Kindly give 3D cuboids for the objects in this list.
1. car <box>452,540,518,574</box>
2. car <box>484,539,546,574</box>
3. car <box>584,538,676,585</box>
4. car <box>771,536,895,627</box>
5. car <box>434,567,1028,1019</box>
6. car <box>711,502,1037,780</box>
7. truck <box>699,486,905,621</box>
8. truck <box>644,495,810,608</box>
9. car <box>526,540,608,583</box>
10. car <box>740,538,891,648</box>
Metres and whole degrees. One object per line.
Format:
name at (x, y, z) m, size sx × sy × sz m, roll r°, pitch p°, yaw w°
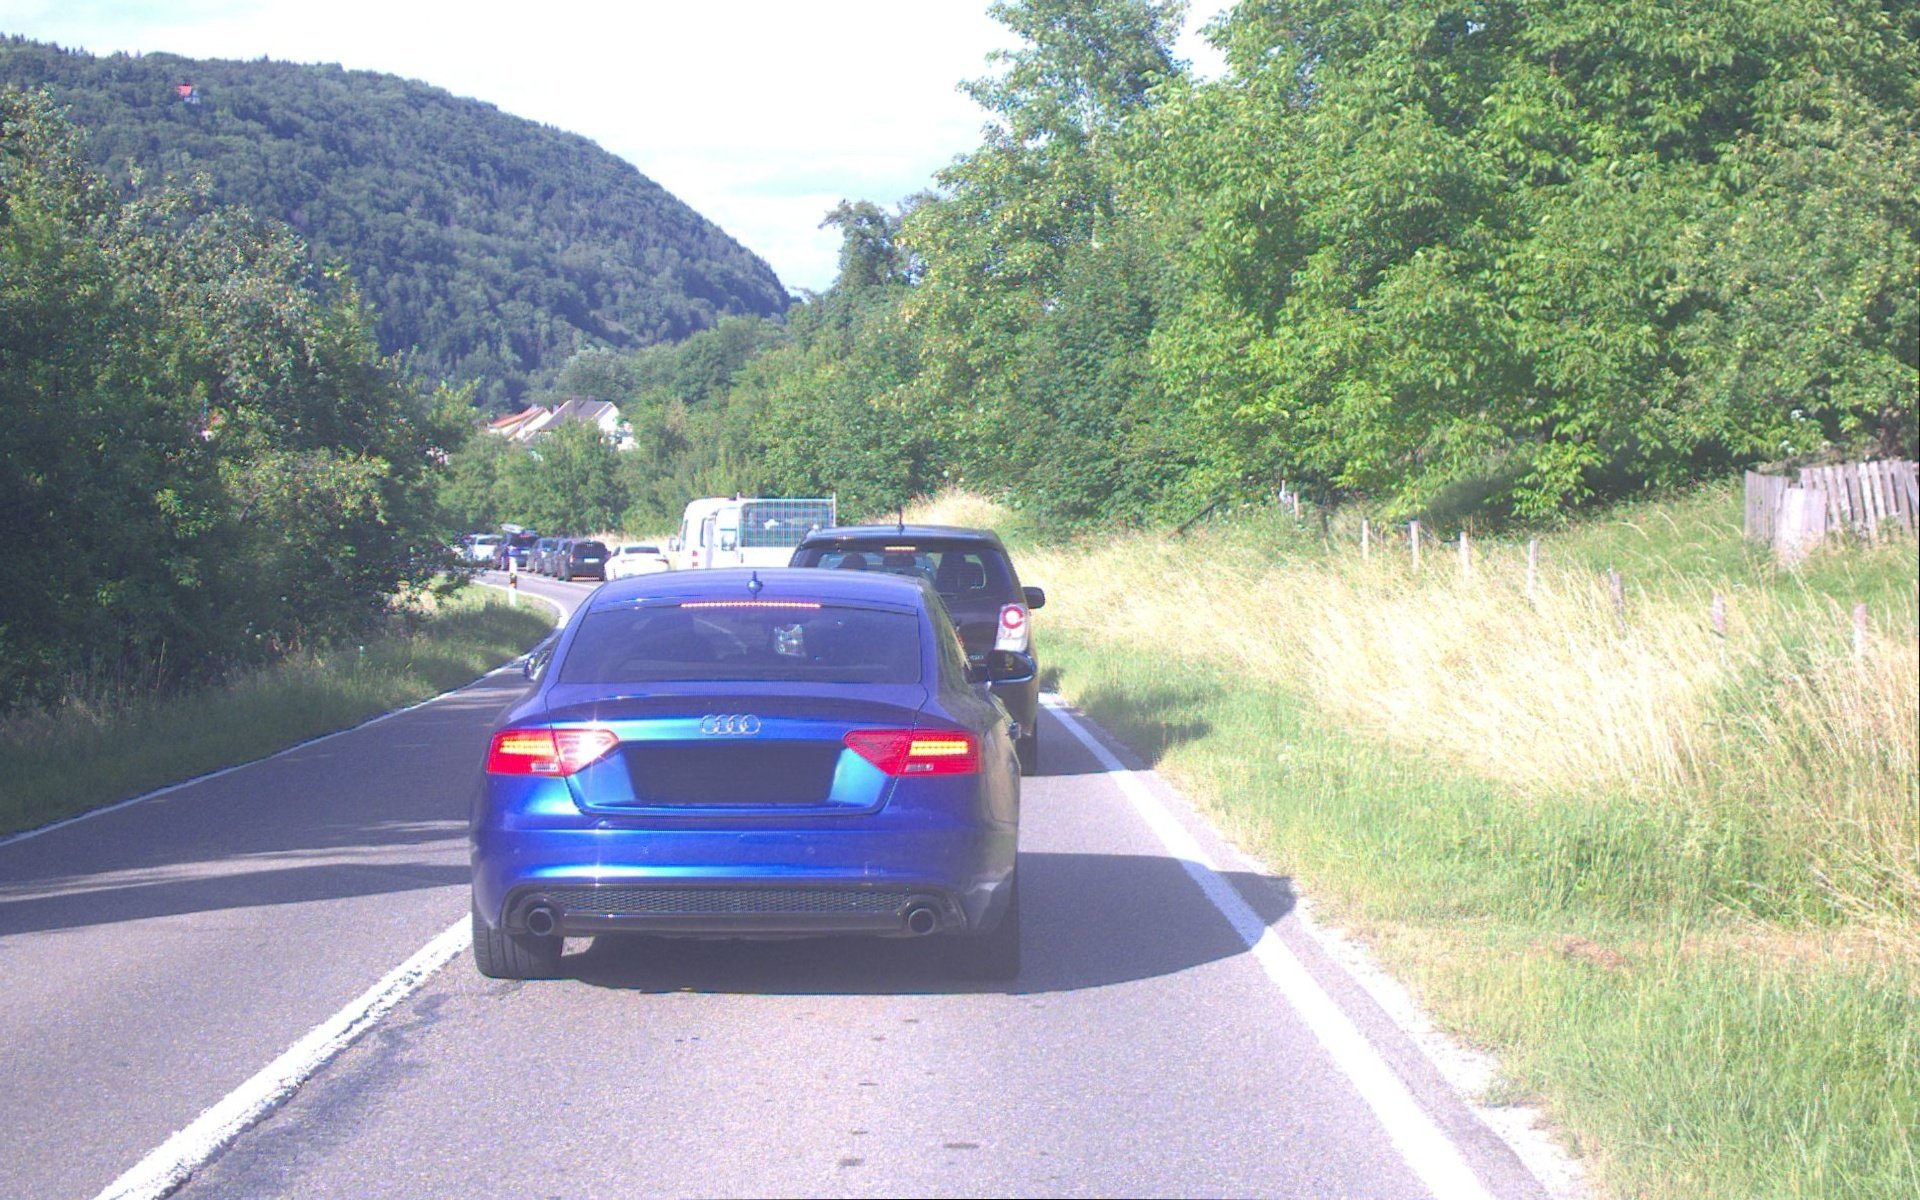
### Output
car at (-21.453, -1.953, 155.107) m, size 1.993 × 1.477 × 4.001 m, roll 0°, pitch 1°, yaw -23°
car at (-18.987, -1.848, 146.681) m, size 1.993 × 1.477 × 4.001 m, roll 1°, pitch 1°, yaw -17°
car at (-10.763, -1.245, 111.851) m, size 1.993 × 1.477 × 4.001 m, roll 1°, pitch 1°, yaw -21°
car at (-2.128, -0.326, 58.534) m, size 1.993 × 1.477 × 4.000 m, roll 1°, pitch 0°, yaw 0°
car at (-0.683, 0.571, 12.470) m, size 1.794 × 1.355 × 4.000 m, roll 1°, pitch 0°, yaw 0°
car at (-0.548, 0.238, 23.256) m, size 1.993 × 1.696 × 4.000 m, roll 1°, pitch 0°, yaw 0°
truck at (-3.532, -1.021, 73.753) m, size 2.863 × 2.656 × 10.396 m, roll 1°, pitch 1°, yaw -11°
truck at (-6.069, -1.253, 87.776) m, size 2.863 × 2.656 × 10.648 m, roll 1°, pitch 1°, yaw -11°
car at (-14.092, -1.377, 123.198) m, size 1.993 × 1.477 × 4.001 m, roll 1°, pitch 1°, yaw -21°
car at (-2.004, -0.115, 48.778) m, size 1.993 × 1.477 × 4.000 m, roll 1°, pitch 0°, yaw 0°
